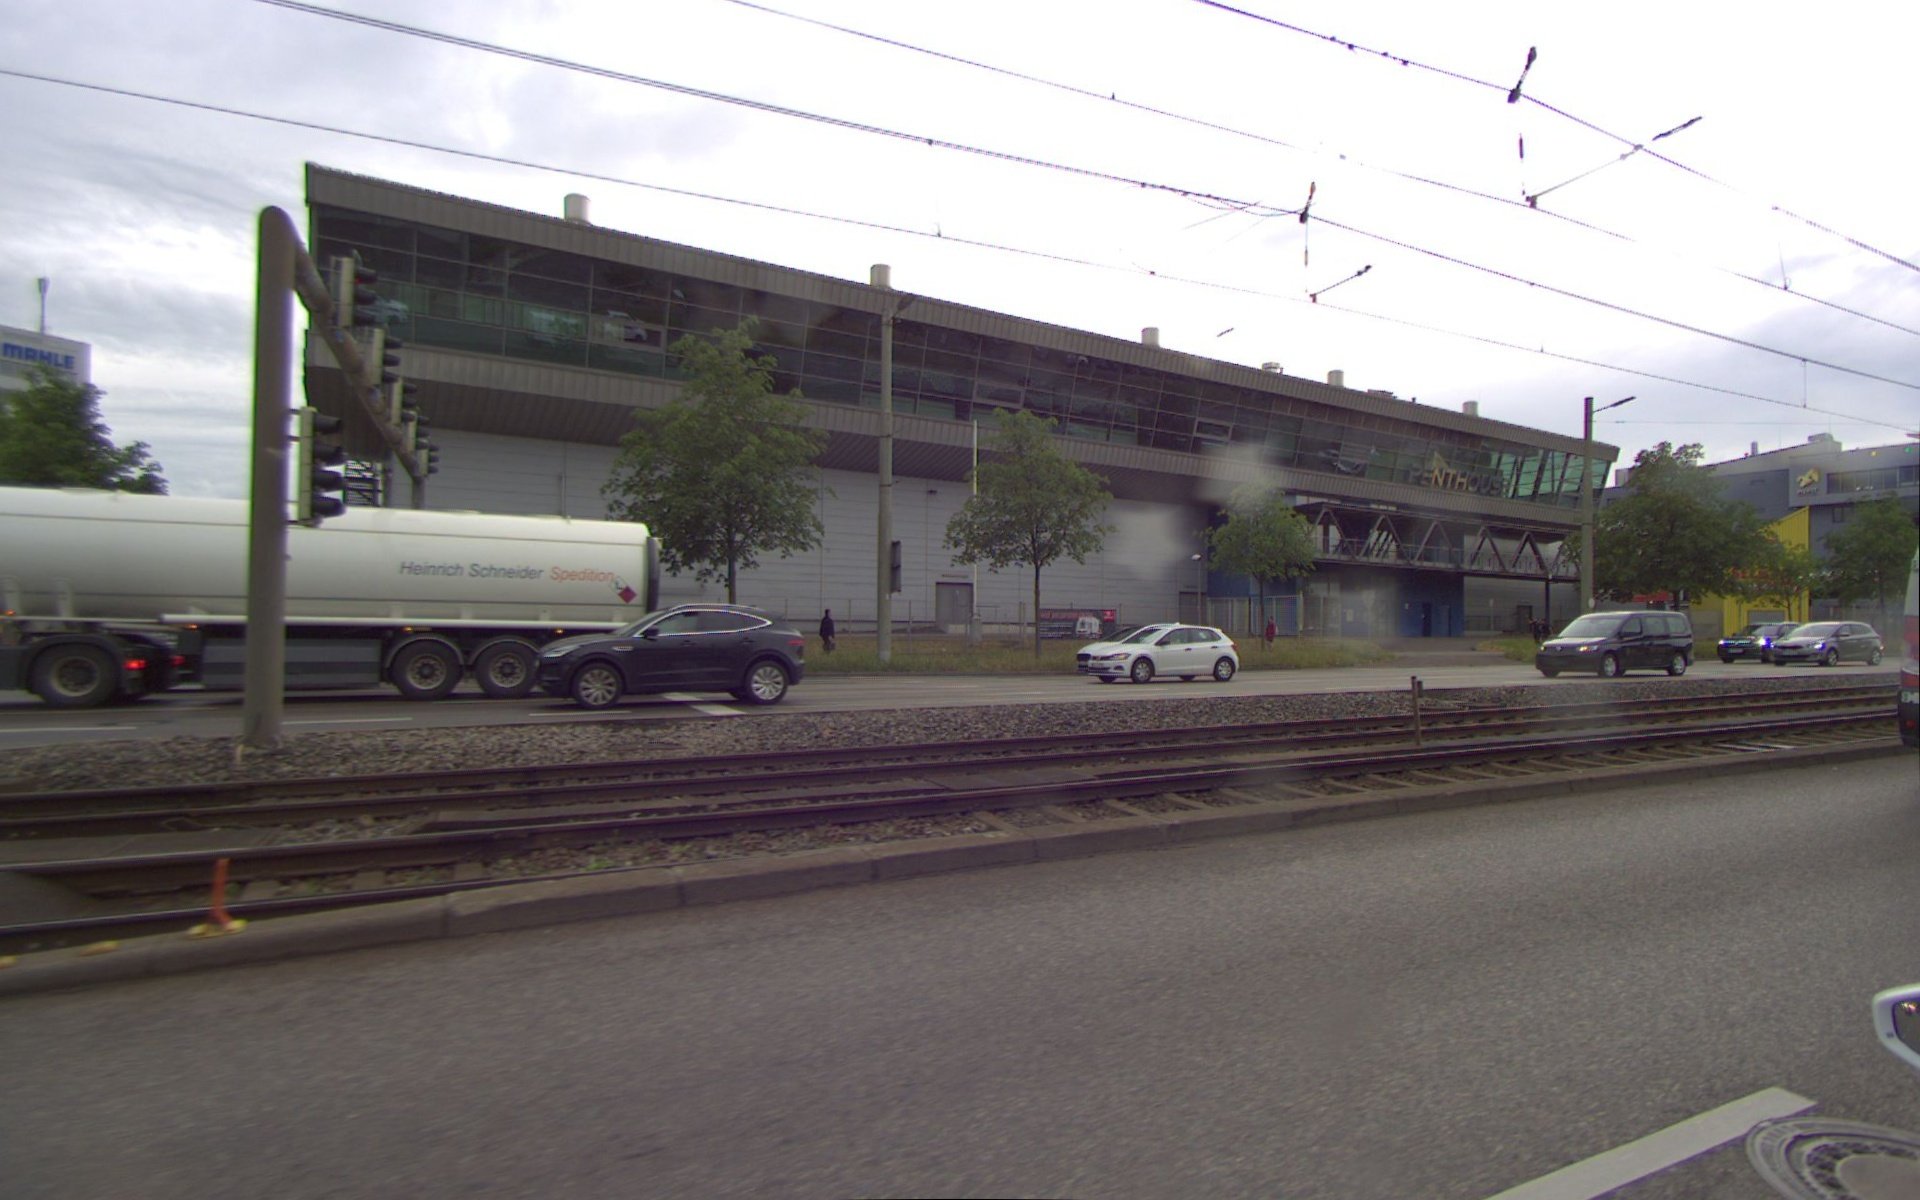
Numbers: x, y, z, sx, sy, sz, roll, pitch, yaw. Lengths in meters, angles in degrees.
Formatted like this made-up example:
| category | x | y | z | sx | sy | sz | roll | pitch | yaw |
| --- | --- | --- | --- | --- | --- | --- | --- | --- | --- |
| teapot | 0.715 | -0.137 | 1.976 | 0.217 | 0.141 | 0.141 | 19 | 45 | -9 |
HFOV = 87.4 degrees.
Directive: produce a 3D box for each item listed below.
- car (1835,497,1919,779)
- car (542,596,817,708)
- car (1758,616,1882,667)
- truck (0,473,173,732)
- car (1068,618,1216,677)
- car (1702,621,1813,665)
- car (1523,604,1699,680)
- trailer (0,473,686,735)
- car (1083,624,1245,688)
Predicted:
| category | x | y | z | sx | sy | sz | roll | pitch | yaw |
| --- | --- | --- | --- | --- | --- | --- | --- | --- | --- |
| car | 10.338 | 0.352 | 8.896 | 4.846 | 2.325 | 2.434 | 0 | 1 | -30 |
| car | -4.667 | 0.816 | 16.709 | 4.140 | 1.675 | 1.917 | 1 | 0 | -25 |
| car | 31.773 | 1.492 | 37.099 | 4.430 | 1.807 | 1.796 | 1 | -1 | -25 |
| truck | -16.087 | 0.058 | 15.661 | 5.336 | 3.855 | 2.740 | 1 | -3 | -24 |
| car | 6.029 | 1.535 | 33.211 | 4.667 | 1.843 | 1.796 | 1 | -1 | -25 |
| car | 33.028 | 1.747 | 41.585 | 4.430 | 1.767 | 1.796 | 1 | -1 | -24 |
| car | 17.873 | 1.115 | 27.562 | 4.737 | 1.953 | 1.796 | 1 | -1 | -25 |
| trailer | -10.817 | 0.215 | 18.053 | 11.074 | 3.905 | 2.718 | 1 | -3 | -24 |
| car | 5.217 | 1.400 | 25.650 | 3.938 | 1.530 | 1.558 | 1 | -1 | -27 |
